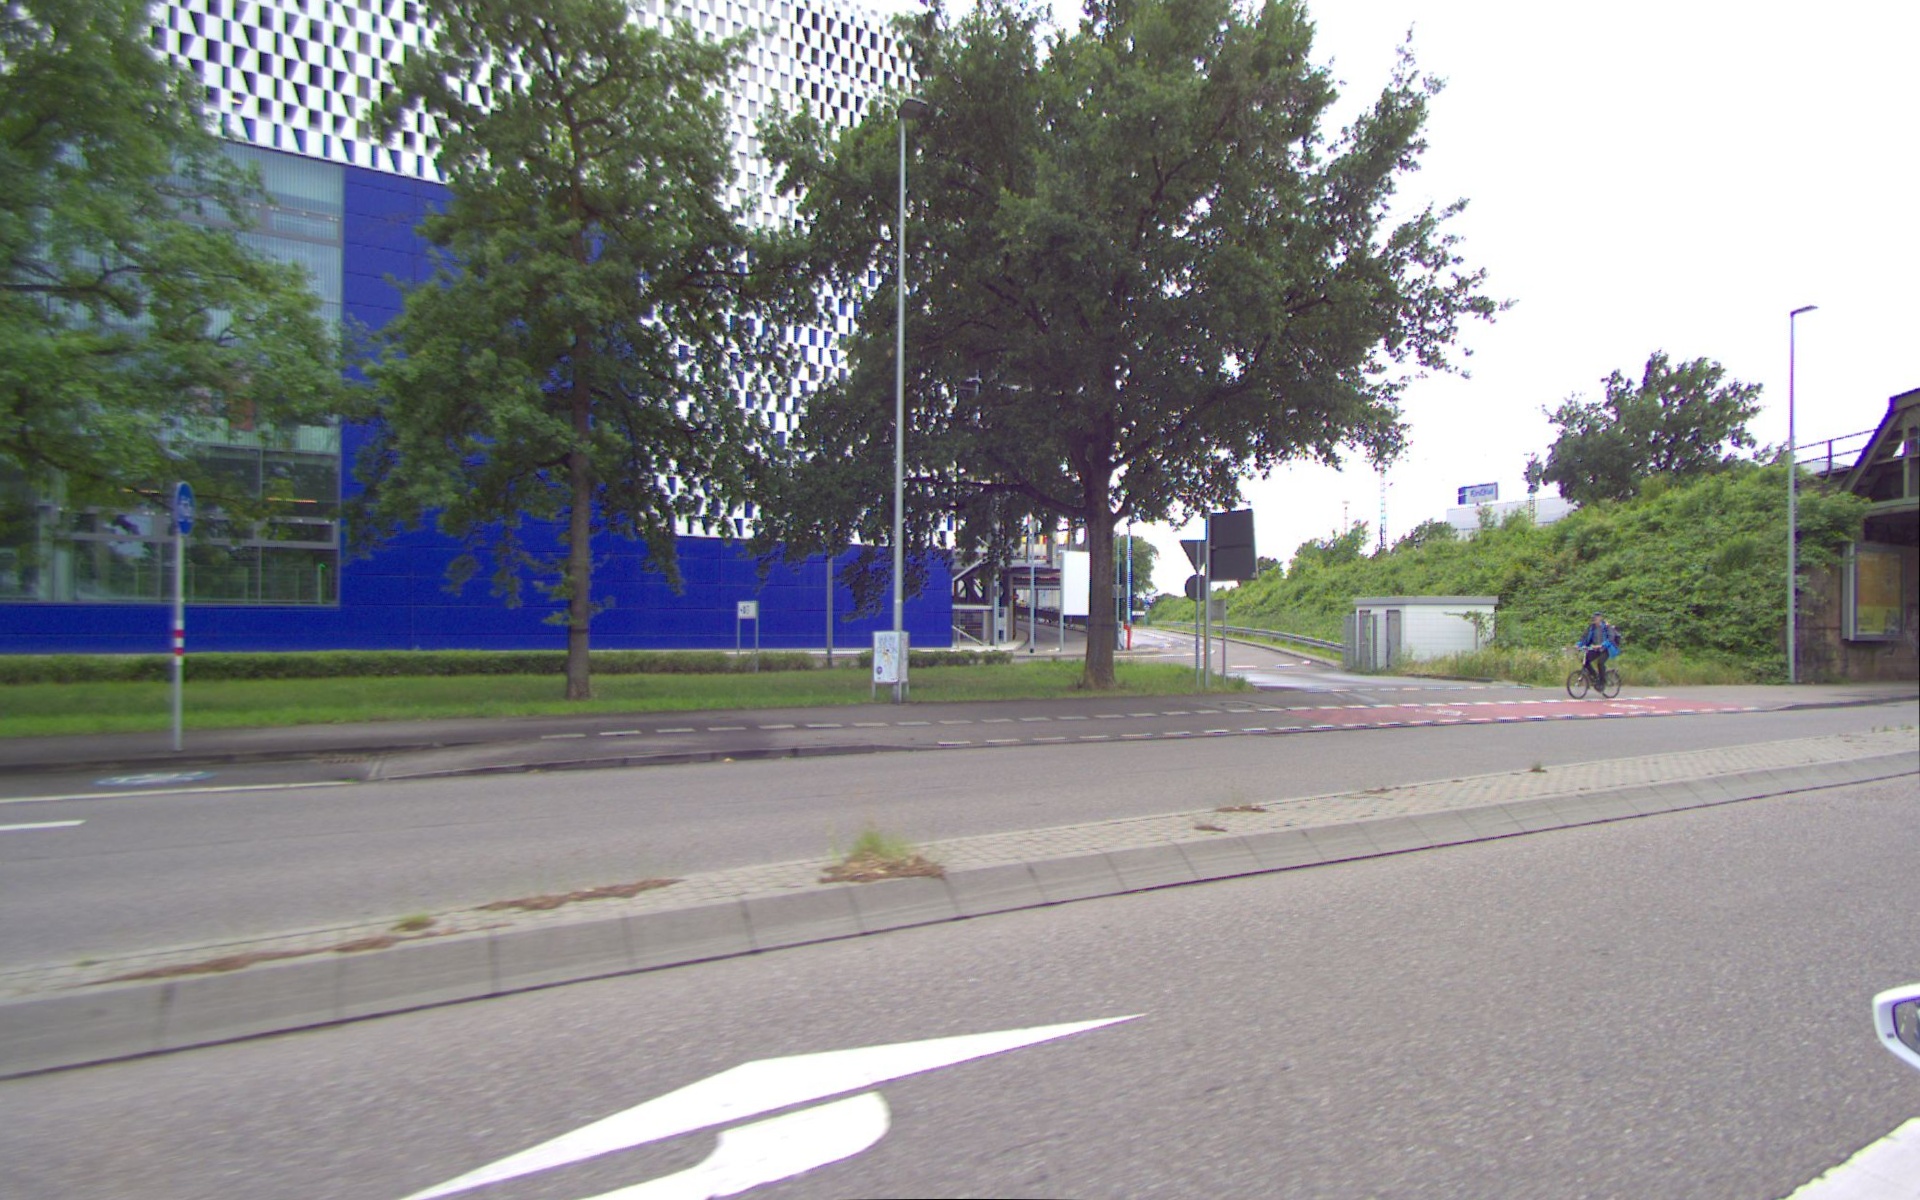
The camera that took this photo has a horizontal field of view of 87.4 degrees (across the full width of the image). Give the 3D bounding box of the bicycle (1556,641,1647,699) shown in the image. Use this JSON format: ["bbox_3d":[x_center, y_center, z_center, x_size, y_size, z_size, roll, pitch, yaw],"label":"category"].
[{"bbox_3d":[14.253,1.525,22.294,2.343,1.202,0.709,2,0,-30],"label":"bicycle"}]

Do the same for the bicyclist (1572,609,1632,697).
[{"bbox_3d":[14.224,1.165,22.260,1.008,1.899,0.698,1,0,-30],"label":"bicyclist"}]
